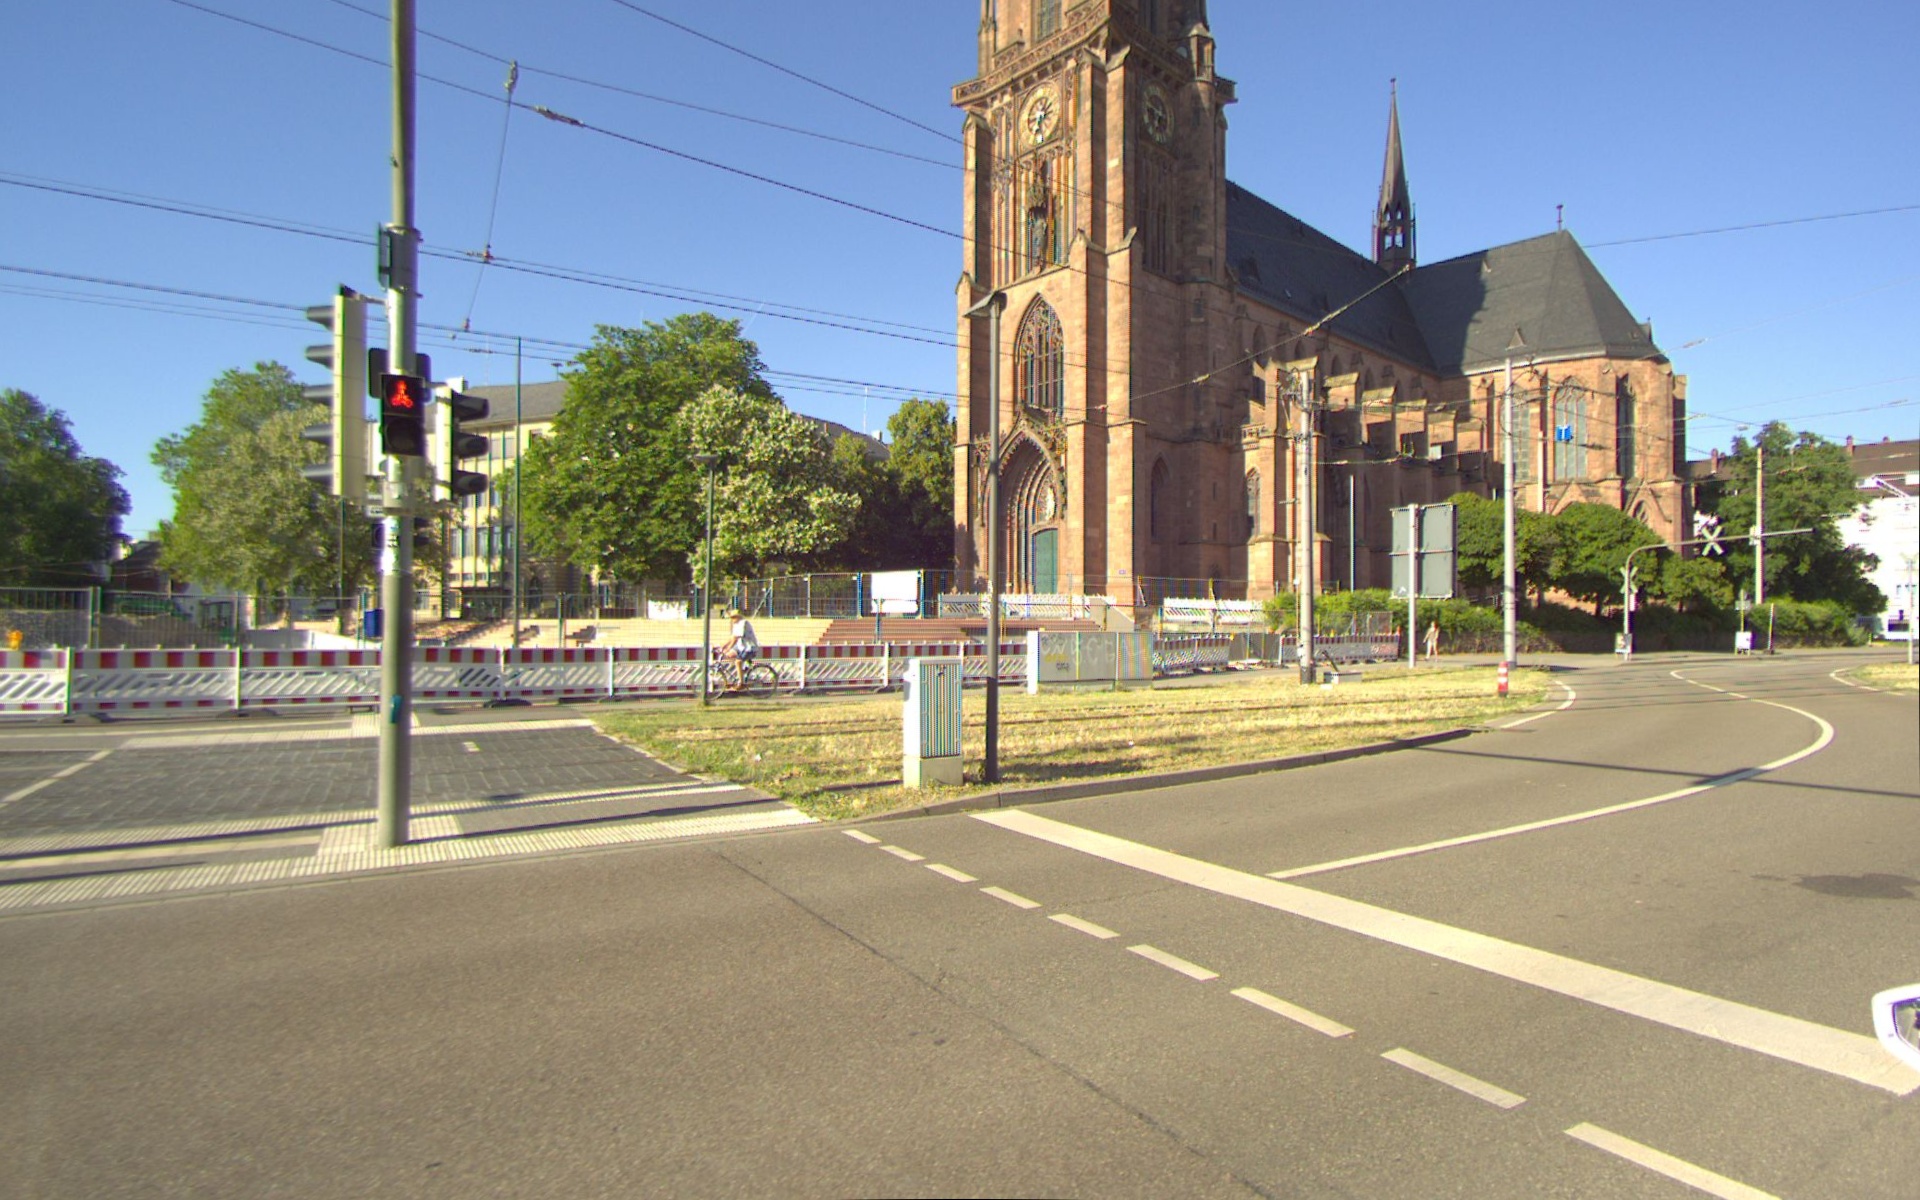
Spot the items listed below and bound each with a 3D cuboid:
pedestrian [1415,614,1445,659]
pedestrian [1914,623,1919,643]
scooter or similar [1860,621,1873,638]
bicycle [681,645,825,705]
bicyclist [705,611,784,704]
[{"bbox_3d":[19.248,1.490,41.137,0.854,1.797,0.723,-3,0,-34],"label":"pedestrian"},{"bbox_3d":[77.470,2.642,80.922,0.887,1.619,0.641,-3,0,-31],"label":"pedestrian"},{"bbox_3d":[71.006,2.339,78.683,1.216,1.278,0.399,-3,0,-31],"label":"scooter or similar"},{"bbox_3d":[-4.229,1.510,20.704,2.799,1.111,0.955,1,-2,-38],"label":"bicycle"},{"bbox_3d":[-4.415,1.155,20.562,1.308,1.833,0.955,1,-1,-38],"label":"bicyclist"}]
